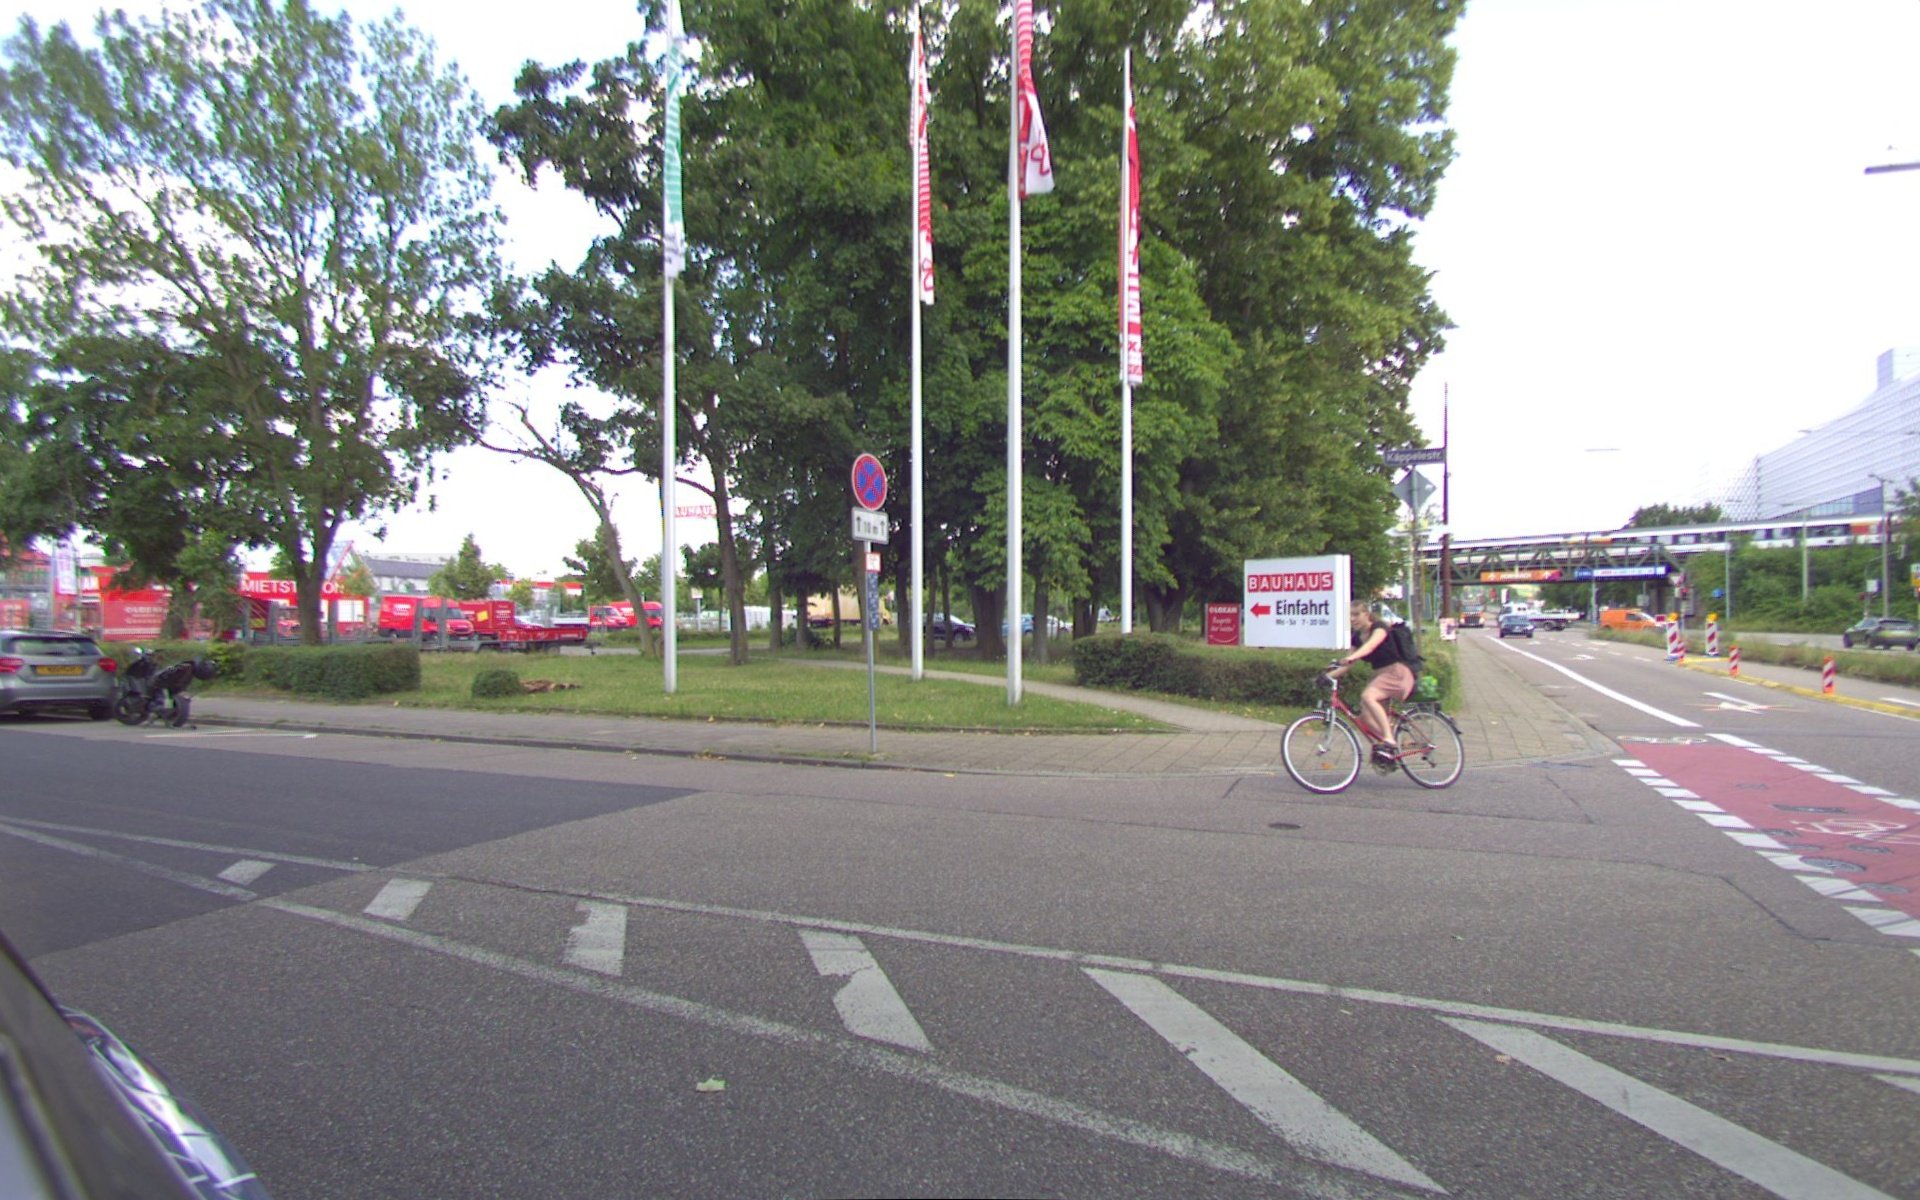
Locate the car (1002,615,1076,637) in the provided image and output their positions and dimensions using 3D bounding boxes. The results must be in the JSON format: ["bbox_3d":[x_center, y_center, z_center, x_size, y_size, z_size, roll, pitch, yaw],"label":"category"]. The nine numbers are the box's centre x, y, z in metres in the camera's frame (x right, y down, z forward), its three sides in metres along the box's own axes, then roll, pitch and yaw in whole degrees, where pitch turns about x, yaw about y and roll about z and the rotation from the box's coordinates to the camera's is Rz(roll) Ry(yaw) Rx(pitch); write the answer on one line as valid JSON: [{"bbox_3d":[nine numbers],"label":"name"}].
[{"bbox_3d":[5.140,1.679,65.862,4.387,1.423,1.982,-1,-1,26],"label":"car"}]

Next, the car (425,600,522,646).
[{"bbox_3d":[-29.208,1.343,60.706,5.694,2.613,2.253,1,0,27],"label":"car"}]

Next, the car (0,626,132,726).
[{"bbox_3d":[-15.340,1.168,16.142,4.310,1.431,1.699,-1,-4,28],"label":"car"}]

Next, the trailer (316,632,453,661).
[{"bbox_3d":[-22.010,1.755,38.893,2.011,0.919,4.214,1,0,24],"label":"trailer"}]

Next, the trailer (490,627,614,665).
[{"bbox_3d":[-14.250,1.578,35.490,1.709,1.200,3.788,-2,-1,31],"label":"trailer"}]

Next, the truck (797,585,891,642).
[{"bbox_3d":[-8.491,0.944,75.296,2.972,3.979,8.277,1,0,26],"label":"truck"}]

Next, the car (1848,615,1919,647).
[{"bbox_3d":[43.301,1.429,47.084,1.787,1.416,3.998,-1,-1,24],"label":"car"}]

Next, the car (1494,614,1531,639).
[{"bbox_3d":[34.616,1.656,63.473,1.860,1.497,3.965,-1,-1,26],"label":"car"}]

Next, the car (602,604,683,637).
[{"bbox_3d":[-25.501,1.635,81.264,6.403,2.433,2.254,1,0,26],"label":"car"}]

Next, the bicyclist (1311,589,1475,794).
[{"bbox_3d":[3.720,0.757,8.741,0.993,1.660,0.736,0,-3,-17],"label":"bicyclist"}]

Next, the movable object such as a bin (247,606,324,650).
[{"bbox_3d":[-36.281,1.525,54.469,3.526,2.292,1.982,-1,-1,26],"label":"movable object such as a bin"}]

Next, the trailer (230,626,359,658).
[{"bbox_3d":[-27.168,1.686,41.479,1.662,1.129,4.214,1,0,24],"label":"trailer"}]

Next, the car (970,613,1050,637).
[{"bbox_3d":[2.964,1.475,60.583,4.387,1.423,1.982,-1,-1,26],"label":"car"}]

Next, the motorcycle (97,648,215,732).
[{"bbox_3d":[-11.774,1.297,14.815,1.793,1.147,0.617,-1,-4,27],"label":"motorcycle"}]

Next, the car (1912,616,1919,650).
[{"bbox_3d":[41.147,1.379,41.506,1.787,1.416,3.998,-1,-1,24],"label":"car"}]

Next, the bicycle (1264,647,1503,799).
[{"bbox_3d":[3.626,1.011,8.700,1.784,1.175,0.732,0,-3,-17],"label":"bicycle"}]

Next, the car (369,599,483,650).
[{"bbox_3d":[-29.462,1.281,55.788,6.405,2.613,2.253,1,0,27],"label":"car"}]

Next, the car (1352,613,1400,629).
[{"bbox_3d":[39.888,1.993,97.088,1.843,1.569,4.012,0,-1,-31],"label":"car"}]

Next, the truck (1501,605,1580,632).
[{"bbox_3d":[51.316,1.648,89.600,2.000,2.306,5.751,0,-1,-34],"label":"truck"}]

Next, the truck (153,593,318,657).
[{"bbox_3d":[-31.803,1.058,44.661,1.807,2.613,5.719,1,0,27],"label":"truck"}]

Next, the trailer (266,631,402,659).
[{"bbox_3d":[-24.964,1.782,40.520,2.146,0.919,4.214,1,0,24],"label":"trailer"}]

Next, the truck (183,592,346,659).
[{"bbox_3d":[-29.206,1.023,42.737,1.770,2.613,5.516,1,0,26],"label":"truck"}]

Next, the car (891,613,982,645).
[{"bbox_3d":[-1.180,1.425,50.427,4.333,1.523,1.559,0,-1,26],"label":"car"}]

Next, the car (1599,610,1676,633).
[{"bbox_3d":[47.830,1.515,71.538,1.767,1.622,4.152,0,-1,-28],"label":"car"}]

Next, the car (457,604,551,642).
[{"bbox_3d":[-31.045,1.526,68.885,6.403,2.433,2.254,1,0,26],"label":"car"}]

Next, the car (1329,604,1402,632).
[{"bbox_3d":[36.815,1.598,92.031,2.326,2.461,5.927,0,-1,-30],"label":"car"}]

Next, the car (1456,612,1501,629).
[{"bbox_3d":[57.027,2.217,111.348,1.859,1.798,4.013,0,-1,-28],"label":"car"}]

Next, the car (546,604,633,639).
[{"bbox_3d":[-27.645,1.582,75.508,6.403,2.433,2.254,1,0,26],"label":"car"}]

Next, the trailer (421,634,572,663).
[{"bbox_3d":[-16.643,1.724,36.553,2.179,0.920,4.561,-2,-1,31],"label":"trailer"}]
